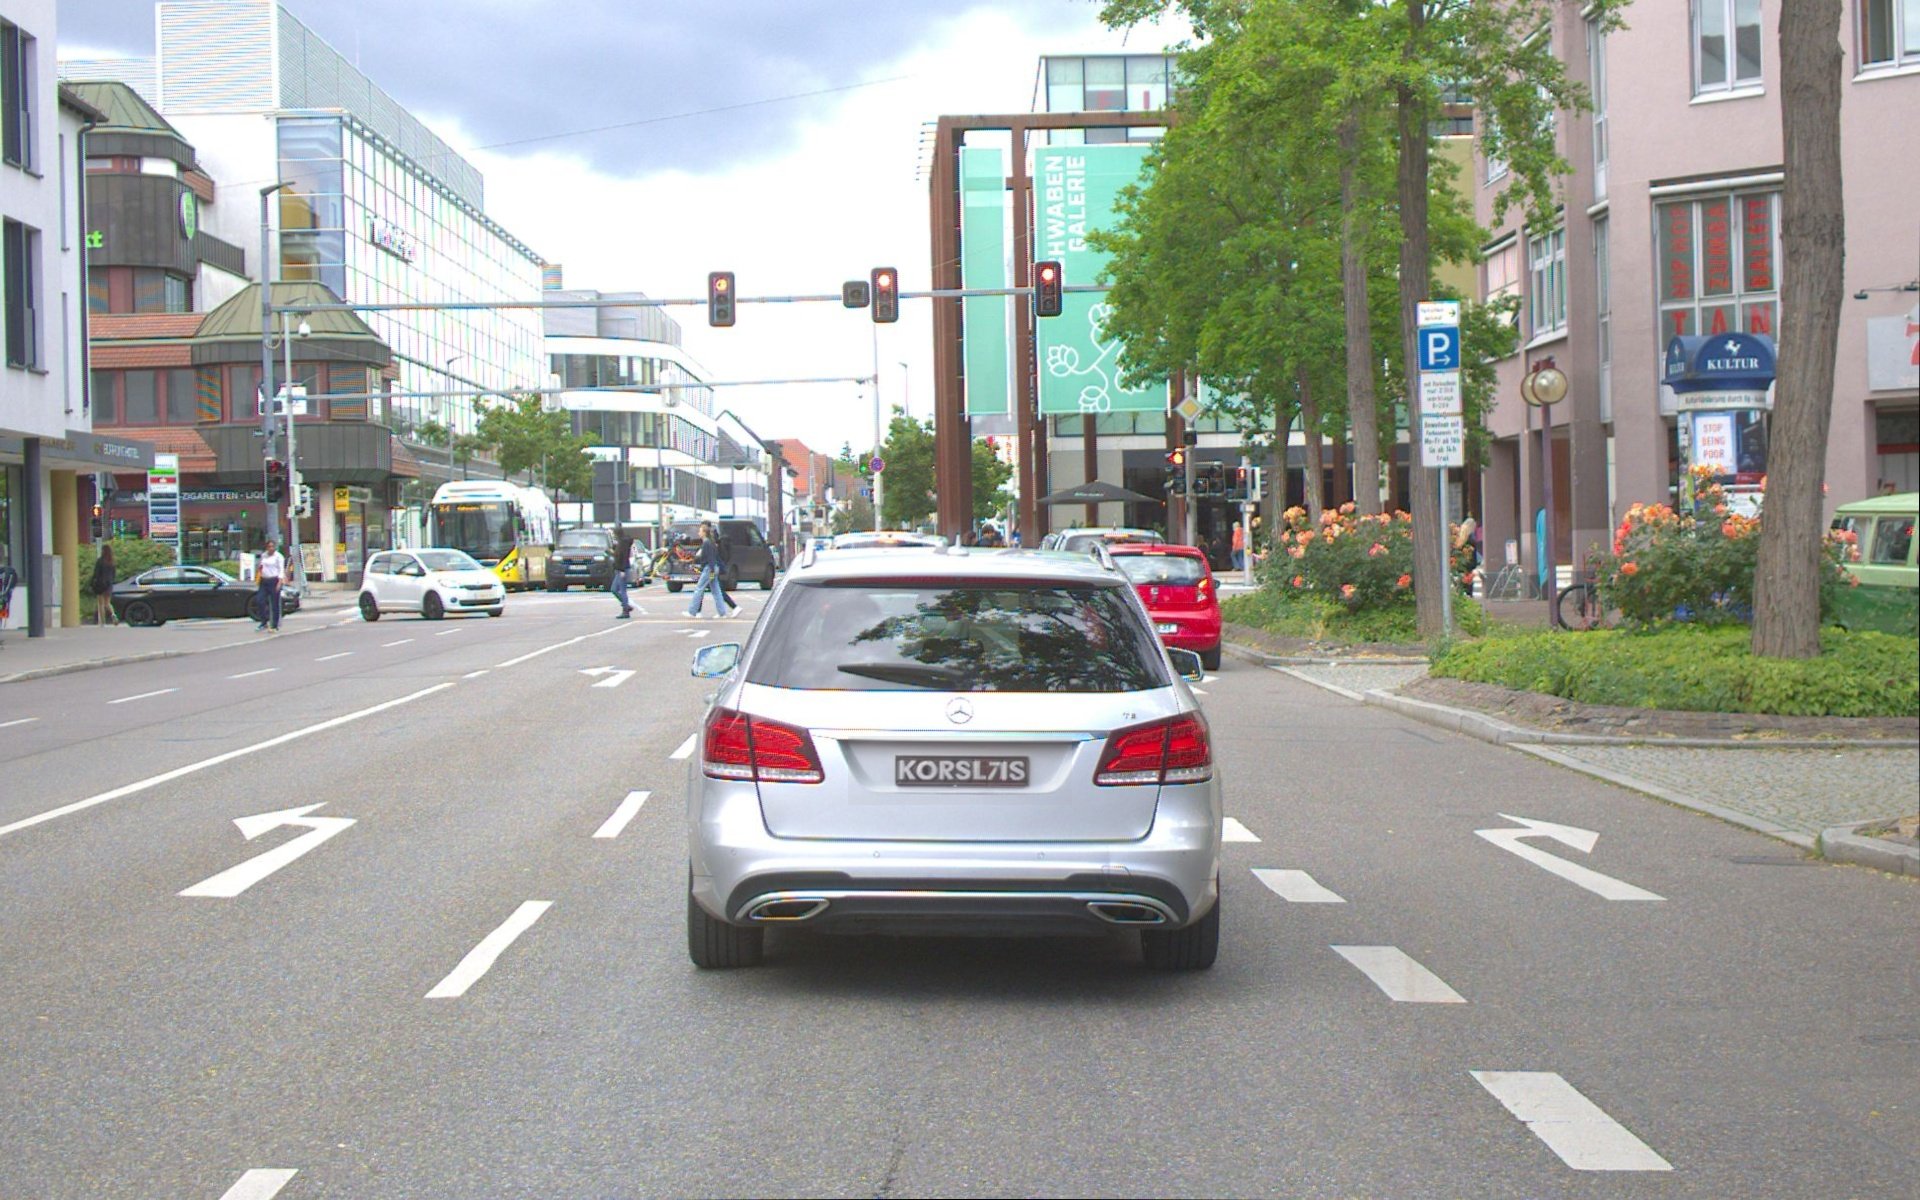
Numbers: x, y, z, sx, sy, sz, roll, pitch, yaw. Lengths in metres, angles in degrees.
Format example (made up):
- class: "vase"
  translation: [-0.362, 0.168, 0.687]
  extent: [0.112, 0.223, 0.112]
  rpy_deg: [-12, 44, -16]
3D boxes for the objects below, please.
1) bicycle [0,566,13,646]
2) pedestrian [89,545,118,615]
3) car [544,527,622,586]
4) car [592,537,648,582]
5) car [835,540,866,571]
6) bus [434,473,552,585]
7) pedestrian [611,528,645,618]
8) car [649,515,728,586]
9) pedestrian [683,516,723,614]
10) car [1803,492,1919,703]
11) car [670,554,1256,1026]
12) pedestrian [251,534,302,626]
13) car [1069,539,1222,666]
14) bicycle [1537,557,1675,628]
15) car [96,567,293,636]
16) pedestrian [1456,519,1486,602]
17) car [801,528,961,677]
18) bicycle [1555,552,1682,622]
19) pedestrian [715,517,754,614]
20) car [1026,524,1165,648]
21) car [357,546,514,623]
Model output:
- class: "bicycle"
  translation: [-14.549, 0.100, 51.357]
  extent: [0.386, 1.182, 1.826]
  rpy_deg: [-1, 1, -4]
- class: "pedestrian"
  translation: [-17.602, -0.411, 70.680]
  extent: [0.450, 1.423, 0.441]
  rpy_deg: [-1, 1, 0]
- class: "car"
  translation: [-11.188, -1.305, 102.231]
  extent: [1.993, 1.700, 4.065]
  rpy_deg: [-1, 1, -2]
- class: "car"
  translation: [-10.845, -1.298, 109.659]
  extent: [1.555, 1.387, 3.288]
  rpy_deg: [-1, 1, -2]
- class: "car"
  translation: [-6.282, -2.558, 197.319]
  extent: [1.716, 1.700, 4.065]
  rpy_deg: [-1, 1, -2]
- class: "bus"
  translation: [-14.167, -2.168, 104.872]
  extent: [2.686, 3.250, 8.654]
  rpy_deg: [-1, 1, -2]
- class: "pedestrian"
  translation: [-6.160, -0.498, 63.716]
  extent: [0.557, 1.645, 0.654]
  rpy_deg: [-1, 1, -10]
- class: "car"
  translation: [-7.654, -1.416, 97.224]
  extent: [1.993, 1.942, 4.951]
  rpy_deg: [-1, 1, -2]
- class: "pedestrian"
  translation: [-4.706, -0.641, 62.850]
  extent: [0.646, 1.784, 0.684]
  rpy_deg: [-1, 1, -9]
- class: "car"
  translation: [9.363, -0.073, 31.520]
  extent: [1.880, 1.869, 4.606]
  rpy_deg: [-2, 1, -3]
- class: "car"
  translation: [-0.076, 0.571, 12.985]
  extent: [1.815, 1.443, 4.370]
  rpy_deg: [1, 1, -2]
- class: "pedestrian"
  translation: [-12.003, -0.358, 60.363]
  extent: [0.728, 1.604, 0.753]
  rpy_deg: [-1, 1, -1]
- class: "car"
  translation: [2.193, -0.001, 41.392]
  extent: [1.586, 1.438, 3.348]
  rpy_deg: [1, 1, -1]
- class: "bicycle"
  translation: [9.317, -0.104, 49.617]
  extent: [1.901, 0.994, 0.468]
  rpy_deg: [-1, 1, 4]
- class: "car"
  translation: [-17.796, 0.023, 80.018]
  extent: [4.187, 1.525, 1.790]
  rpy_deg: [-1, 1, 0]
- class: "pedestrian"
  translation: [10.990, -0.856, 73.937]
  extent: [0.568, 1.769, 0.647]
  rpy_deg: [-1, 1, 3]
- class: "car"
  translation: [-0.846, -0.006, 37.073]
  extent: [1.640, 1.522, 3.394]
  rpy_deg: [0, 1, -1]
- class: "bicycle"
  translation: [9.605, -0.193, 50.144]
  extent: [1.769, 0.994, 0.447]
  rpy_deg: [-1, 1, 4]
- class: "pedestrian"
  translation: [-4.163, -0.646, 63.445]
  extent: [0.644, 1.769, 0.570]
  rpy_deg: [-1, 1, -9]
- class: "car"
  translation: [1.840, -0.225, 47.746]
  extent: [1.586, 1.628, 3.917]
  rpy_deg: [1, 1, -2]
- class: "car"
  translation: [-10.784, -0.314, 70.550]
  extent: [1.574, 1.483, 3.462]
  rpy_deg: [-3, 1, -40]
